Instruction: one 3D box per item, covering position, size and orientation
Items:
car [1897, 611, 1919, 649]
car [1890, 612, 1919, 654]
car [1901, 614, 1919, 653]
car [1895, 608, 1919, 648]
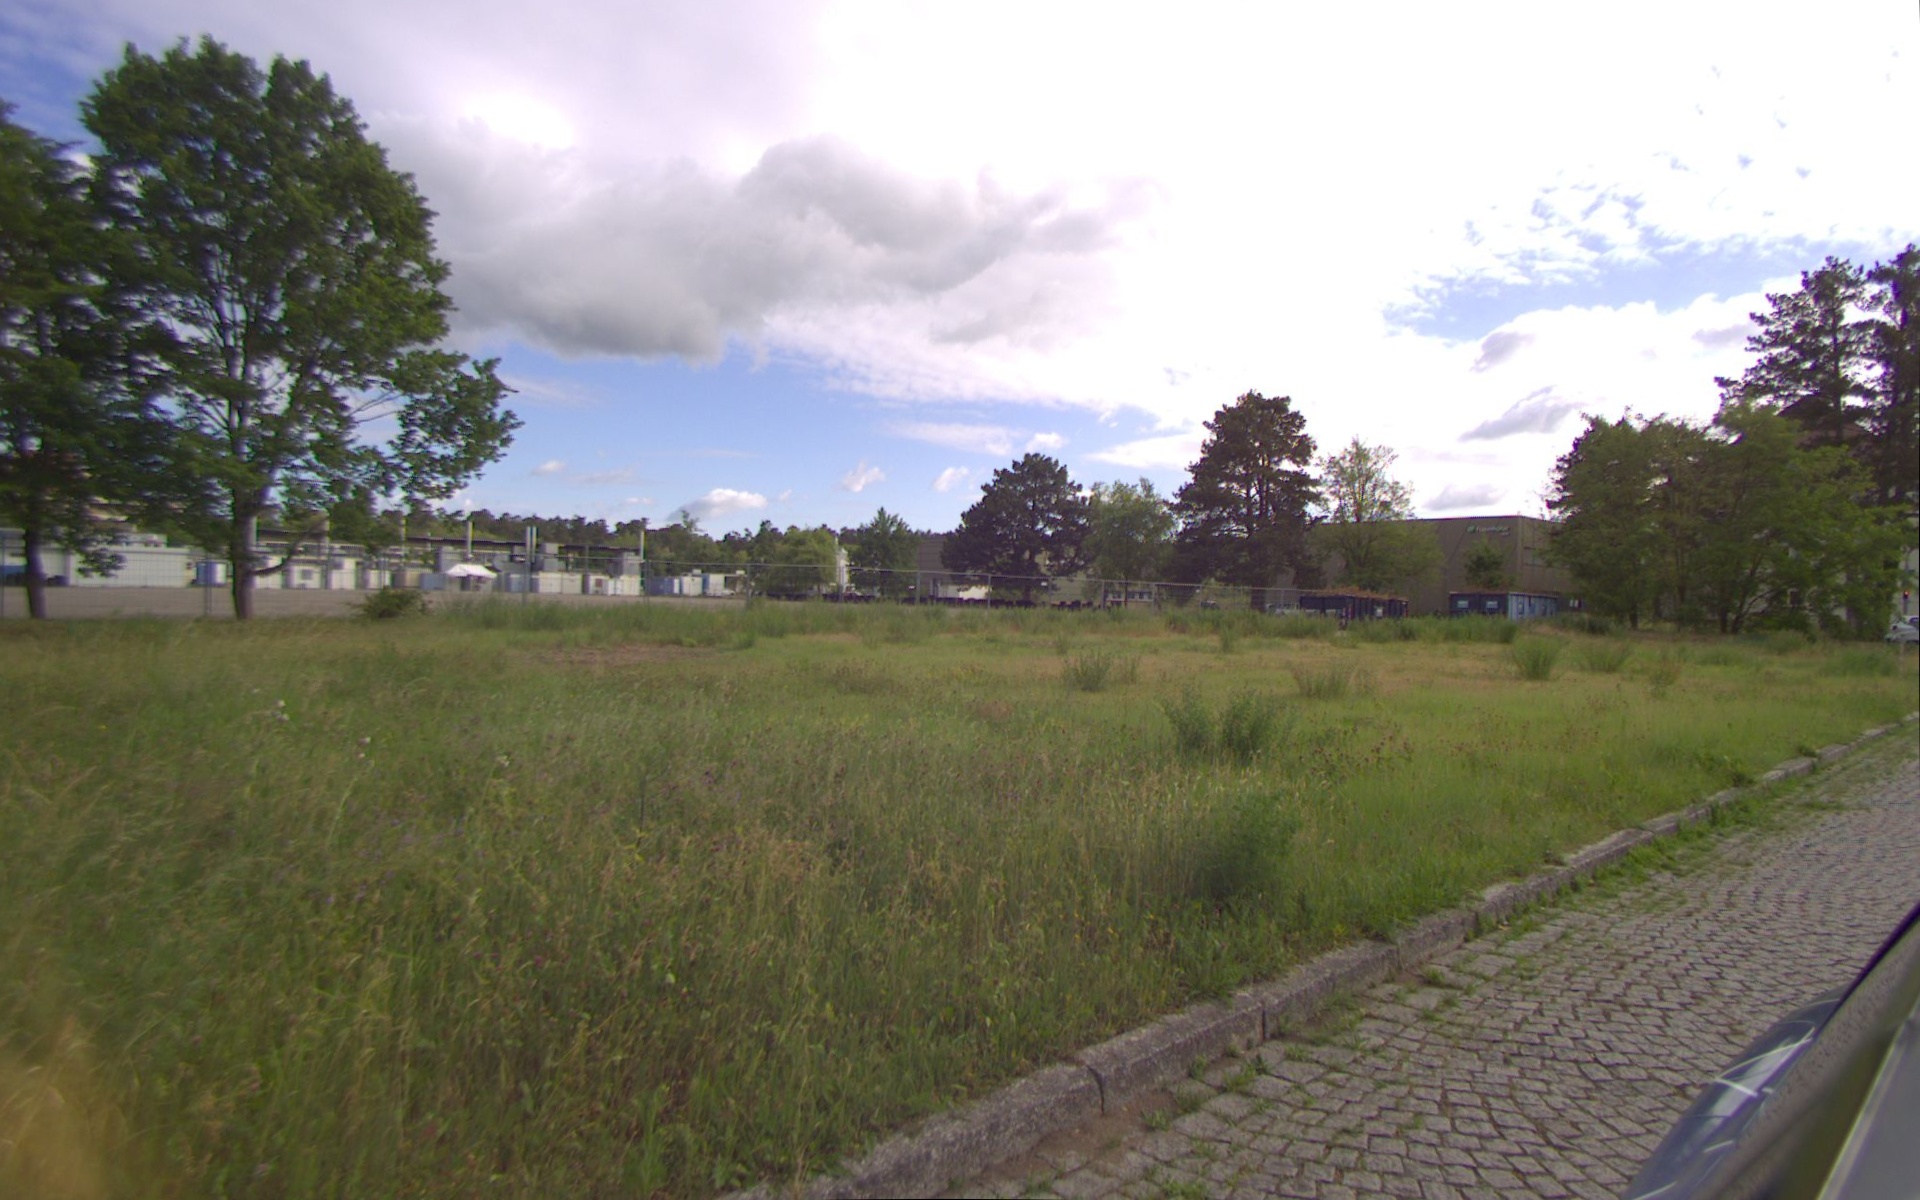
[{"bbox_3d":[43.326,1.481,43.327,1.872,1.584,4.502,2,3,-42],"label":"car"},{"bbox_3d":[37.697,1.397,37.837,1.773,1.533,4.082,2,3,-42],"label":"car"},{"bbox_3d":[39.717,1.479,39.568,1.853,1.470,4.082,2,3,-42],"label":"car"},{"bbox_3d":[41.475,1.301,41.639,1.853,1.615,4.246,2,3,-43],"label":"car"}]
